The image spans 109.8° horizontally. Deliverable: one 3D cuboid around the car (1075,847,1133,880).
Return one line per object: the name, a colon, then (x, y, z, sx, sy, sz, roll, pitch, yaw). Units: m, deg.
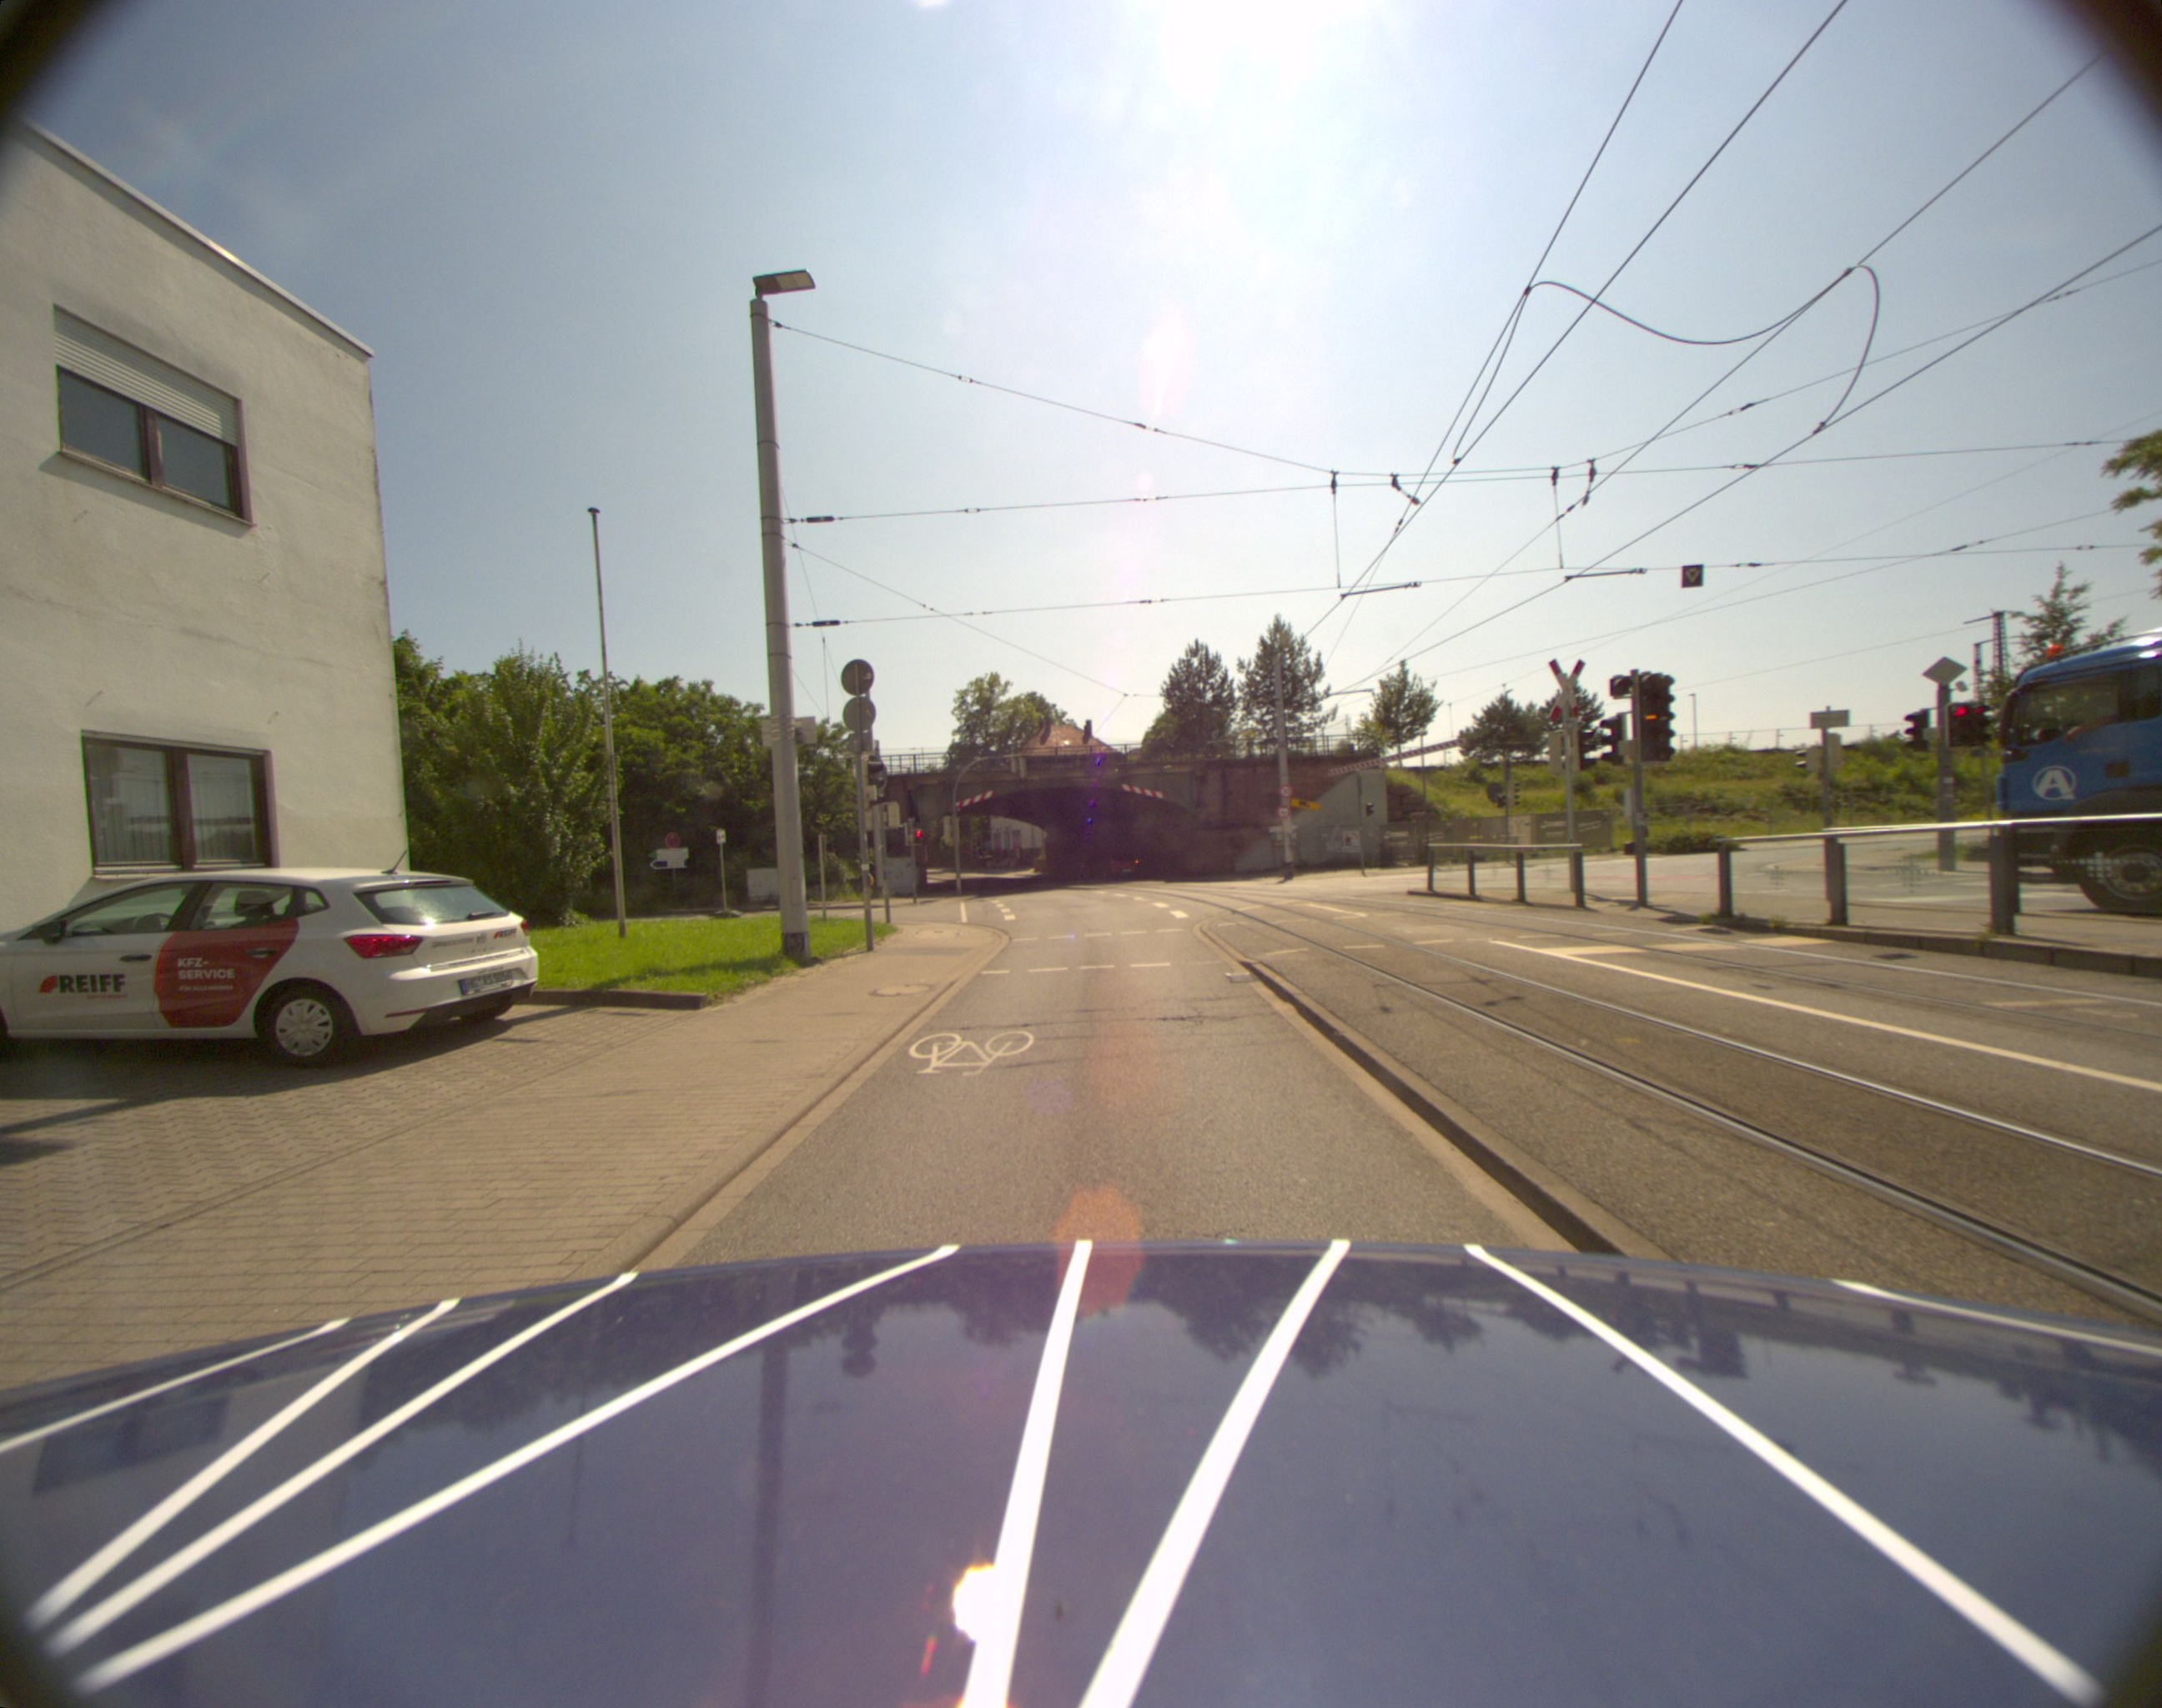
car: (1.188, 0.537, 40.972, 1.824, 1.594, 4.301, -3, 0, -16)

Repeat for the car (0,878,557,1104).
car: (-6.943, 0.985, 6.215, 3.997, 1.454, 1.890, 1, 1, 0)

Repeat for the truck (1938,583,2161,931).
truck: (12.563, -1.054, 7.369, 2.750, 3.587, 5.039, -3, 0, 1)
